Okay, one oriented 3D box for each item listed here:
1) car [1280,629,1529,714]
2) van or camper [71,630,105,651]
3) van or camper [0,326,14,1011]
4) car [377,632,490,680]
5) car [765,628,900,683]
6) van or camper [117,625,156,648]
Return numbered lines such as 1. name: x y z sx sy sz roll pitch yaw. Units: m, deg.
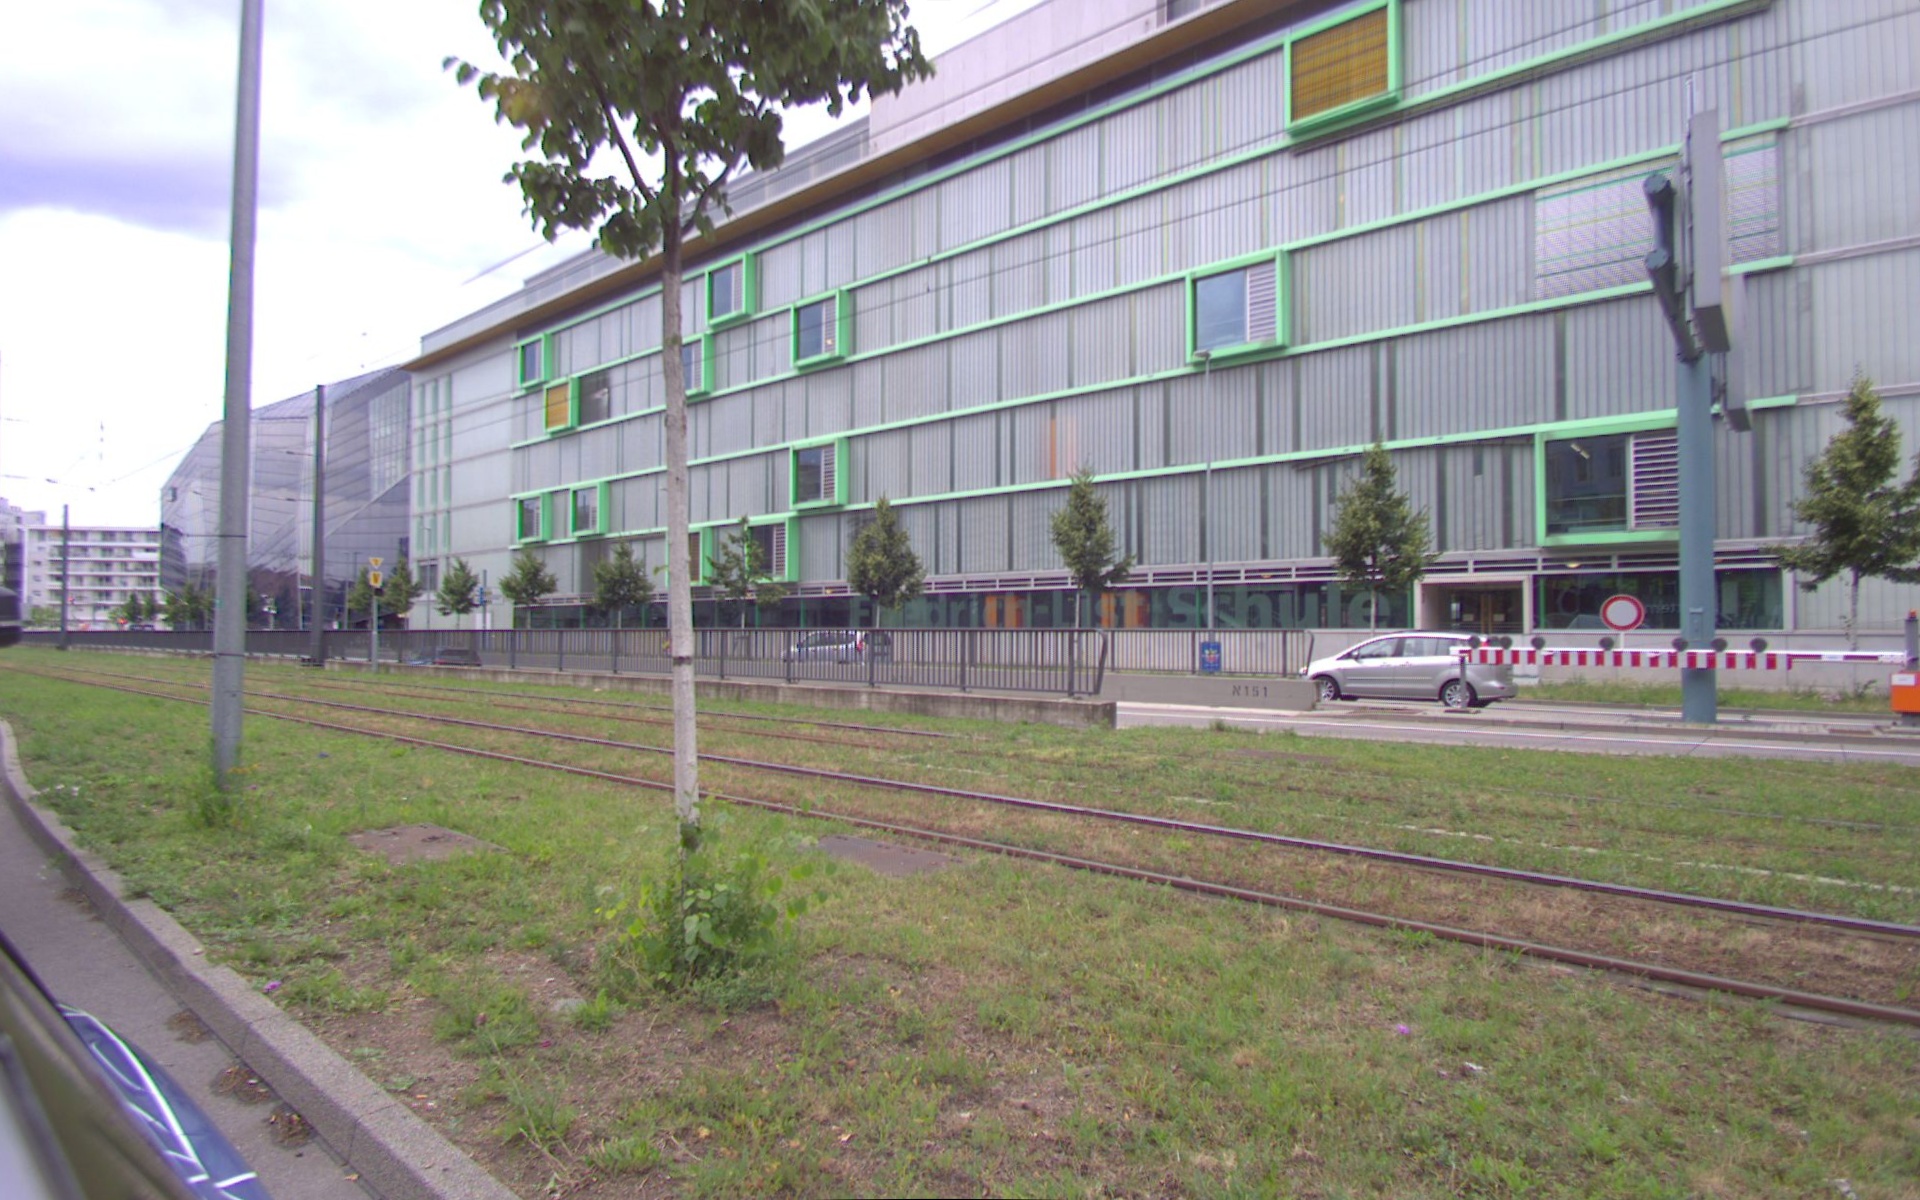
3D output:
1. car: 9.537 1.463 21.968 4.670 1.656 1.704 -2 -2 39
2. van or camper: -100.919 4.707 117.146 6.503 2.304 2.150 -2 -2 42
3. van or camper: -6.198 0.299 4.741 5.037 2.607 2.017 -2 -2 40
4. car: -19.055 1.984 36.534 4.684 1.600 1.944 -2 -2 39
5. car: -4.288 1.777 33.673 4.574 1.582 1.779 0 1 39
6. van or camper: -82.879 3.687 101.843 5.356 2.304 2.150 -2 -2 41
